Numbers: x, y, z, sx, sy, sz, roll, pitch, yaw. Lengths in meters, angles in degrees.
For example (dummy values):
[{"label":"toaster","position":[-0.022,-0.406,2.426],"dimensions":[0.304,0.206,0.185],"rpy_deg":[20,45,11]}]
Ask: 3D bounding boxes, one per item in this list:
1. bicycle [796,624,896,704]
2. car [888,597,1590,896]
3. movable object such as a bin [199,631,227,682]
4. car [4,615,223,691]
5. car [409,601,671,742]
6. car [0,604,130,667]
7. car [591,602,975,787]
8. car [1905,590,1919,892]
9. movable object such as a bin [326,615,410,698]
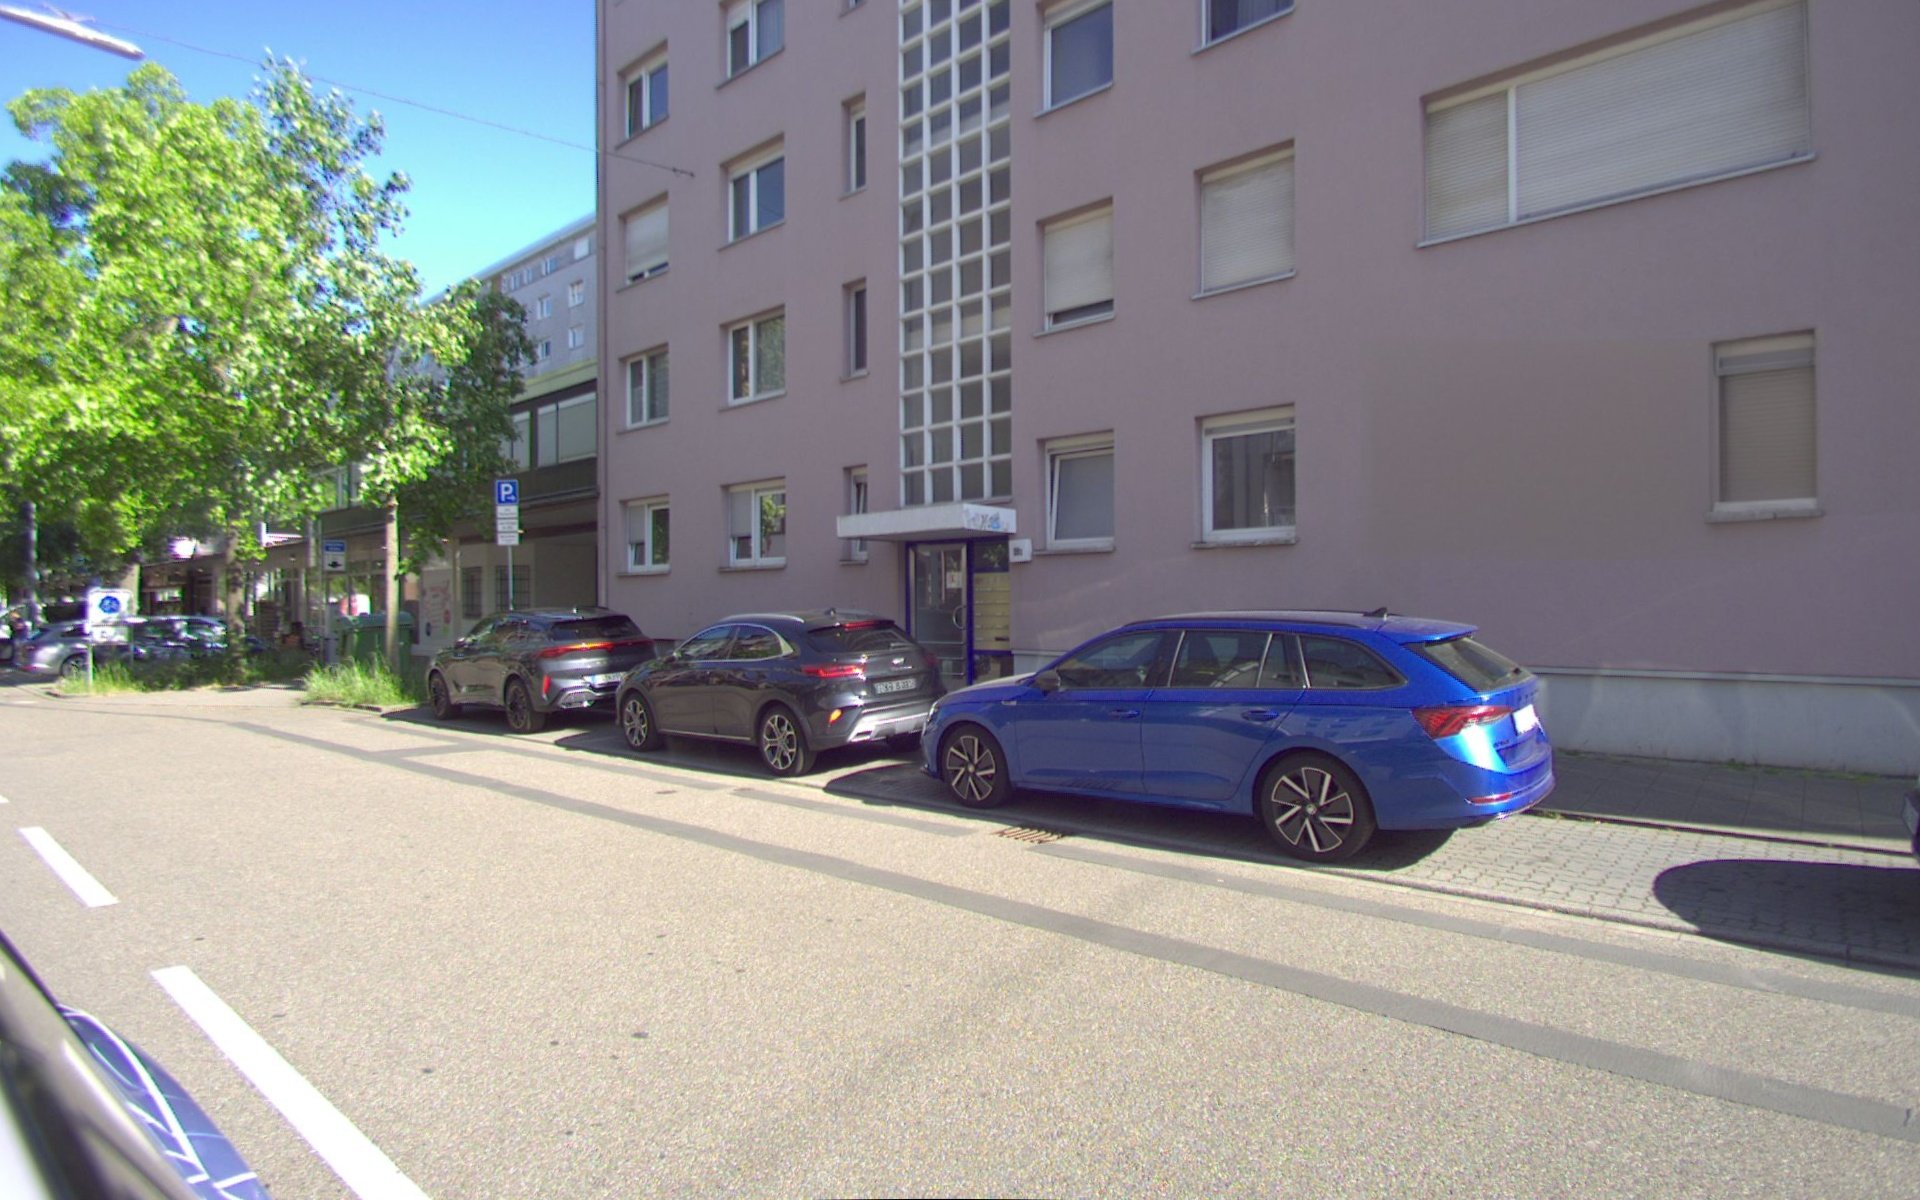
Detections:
[{"label":"bicycle","position":[-1.680,0.902,14.715],"dimensions":[1.649,1.084,0.386],"rpy_deg":[-1,3,42]},{"label":"car","position":[1.723,0.788,7.332],"dimensions":[4.610,1.476,1.700],"rpy_deg":[-1,1,41]},{"label":"movable object such as a bin","position":[-18.479,1.394,25.026],"dimensions":[0.409,1.234,0.482],"rpy_deg":[-1,-1,41]},{"label":"car","position":[-20.963,1.239,25.172],"dimensions":[1.999,1.687,3.945],"rpy_deg":[-1,-1,41]},{"label":"car","position":[-6.044,0.901,14.334],"dimensions":[4.141,1.604,1.798],"rpy_deg":[-1,2,43]},{"label":"car","position":[-31.275,1.185,34.830],"dimensions":[1.999,2.047,3.945],"rpy_deg":[-1,-1,41]},{"label":"car","position":[-2.032,0.846,10.795],"dimensions":[4.245,1.519,1.798],"rpy_deg":[-1,1,43]},{"label":"car","position":[6.336,0.673,3.180],"dimensions":[4.812,1.476,1.700],"rpy_deg":[-1,1,41]},{"label":"movable object such as a bin","position":[-11.567,1.074,19.776],"dimensions":[1.230,1.557,1.019],"rpy_deg":[0,-1,-44]}]
